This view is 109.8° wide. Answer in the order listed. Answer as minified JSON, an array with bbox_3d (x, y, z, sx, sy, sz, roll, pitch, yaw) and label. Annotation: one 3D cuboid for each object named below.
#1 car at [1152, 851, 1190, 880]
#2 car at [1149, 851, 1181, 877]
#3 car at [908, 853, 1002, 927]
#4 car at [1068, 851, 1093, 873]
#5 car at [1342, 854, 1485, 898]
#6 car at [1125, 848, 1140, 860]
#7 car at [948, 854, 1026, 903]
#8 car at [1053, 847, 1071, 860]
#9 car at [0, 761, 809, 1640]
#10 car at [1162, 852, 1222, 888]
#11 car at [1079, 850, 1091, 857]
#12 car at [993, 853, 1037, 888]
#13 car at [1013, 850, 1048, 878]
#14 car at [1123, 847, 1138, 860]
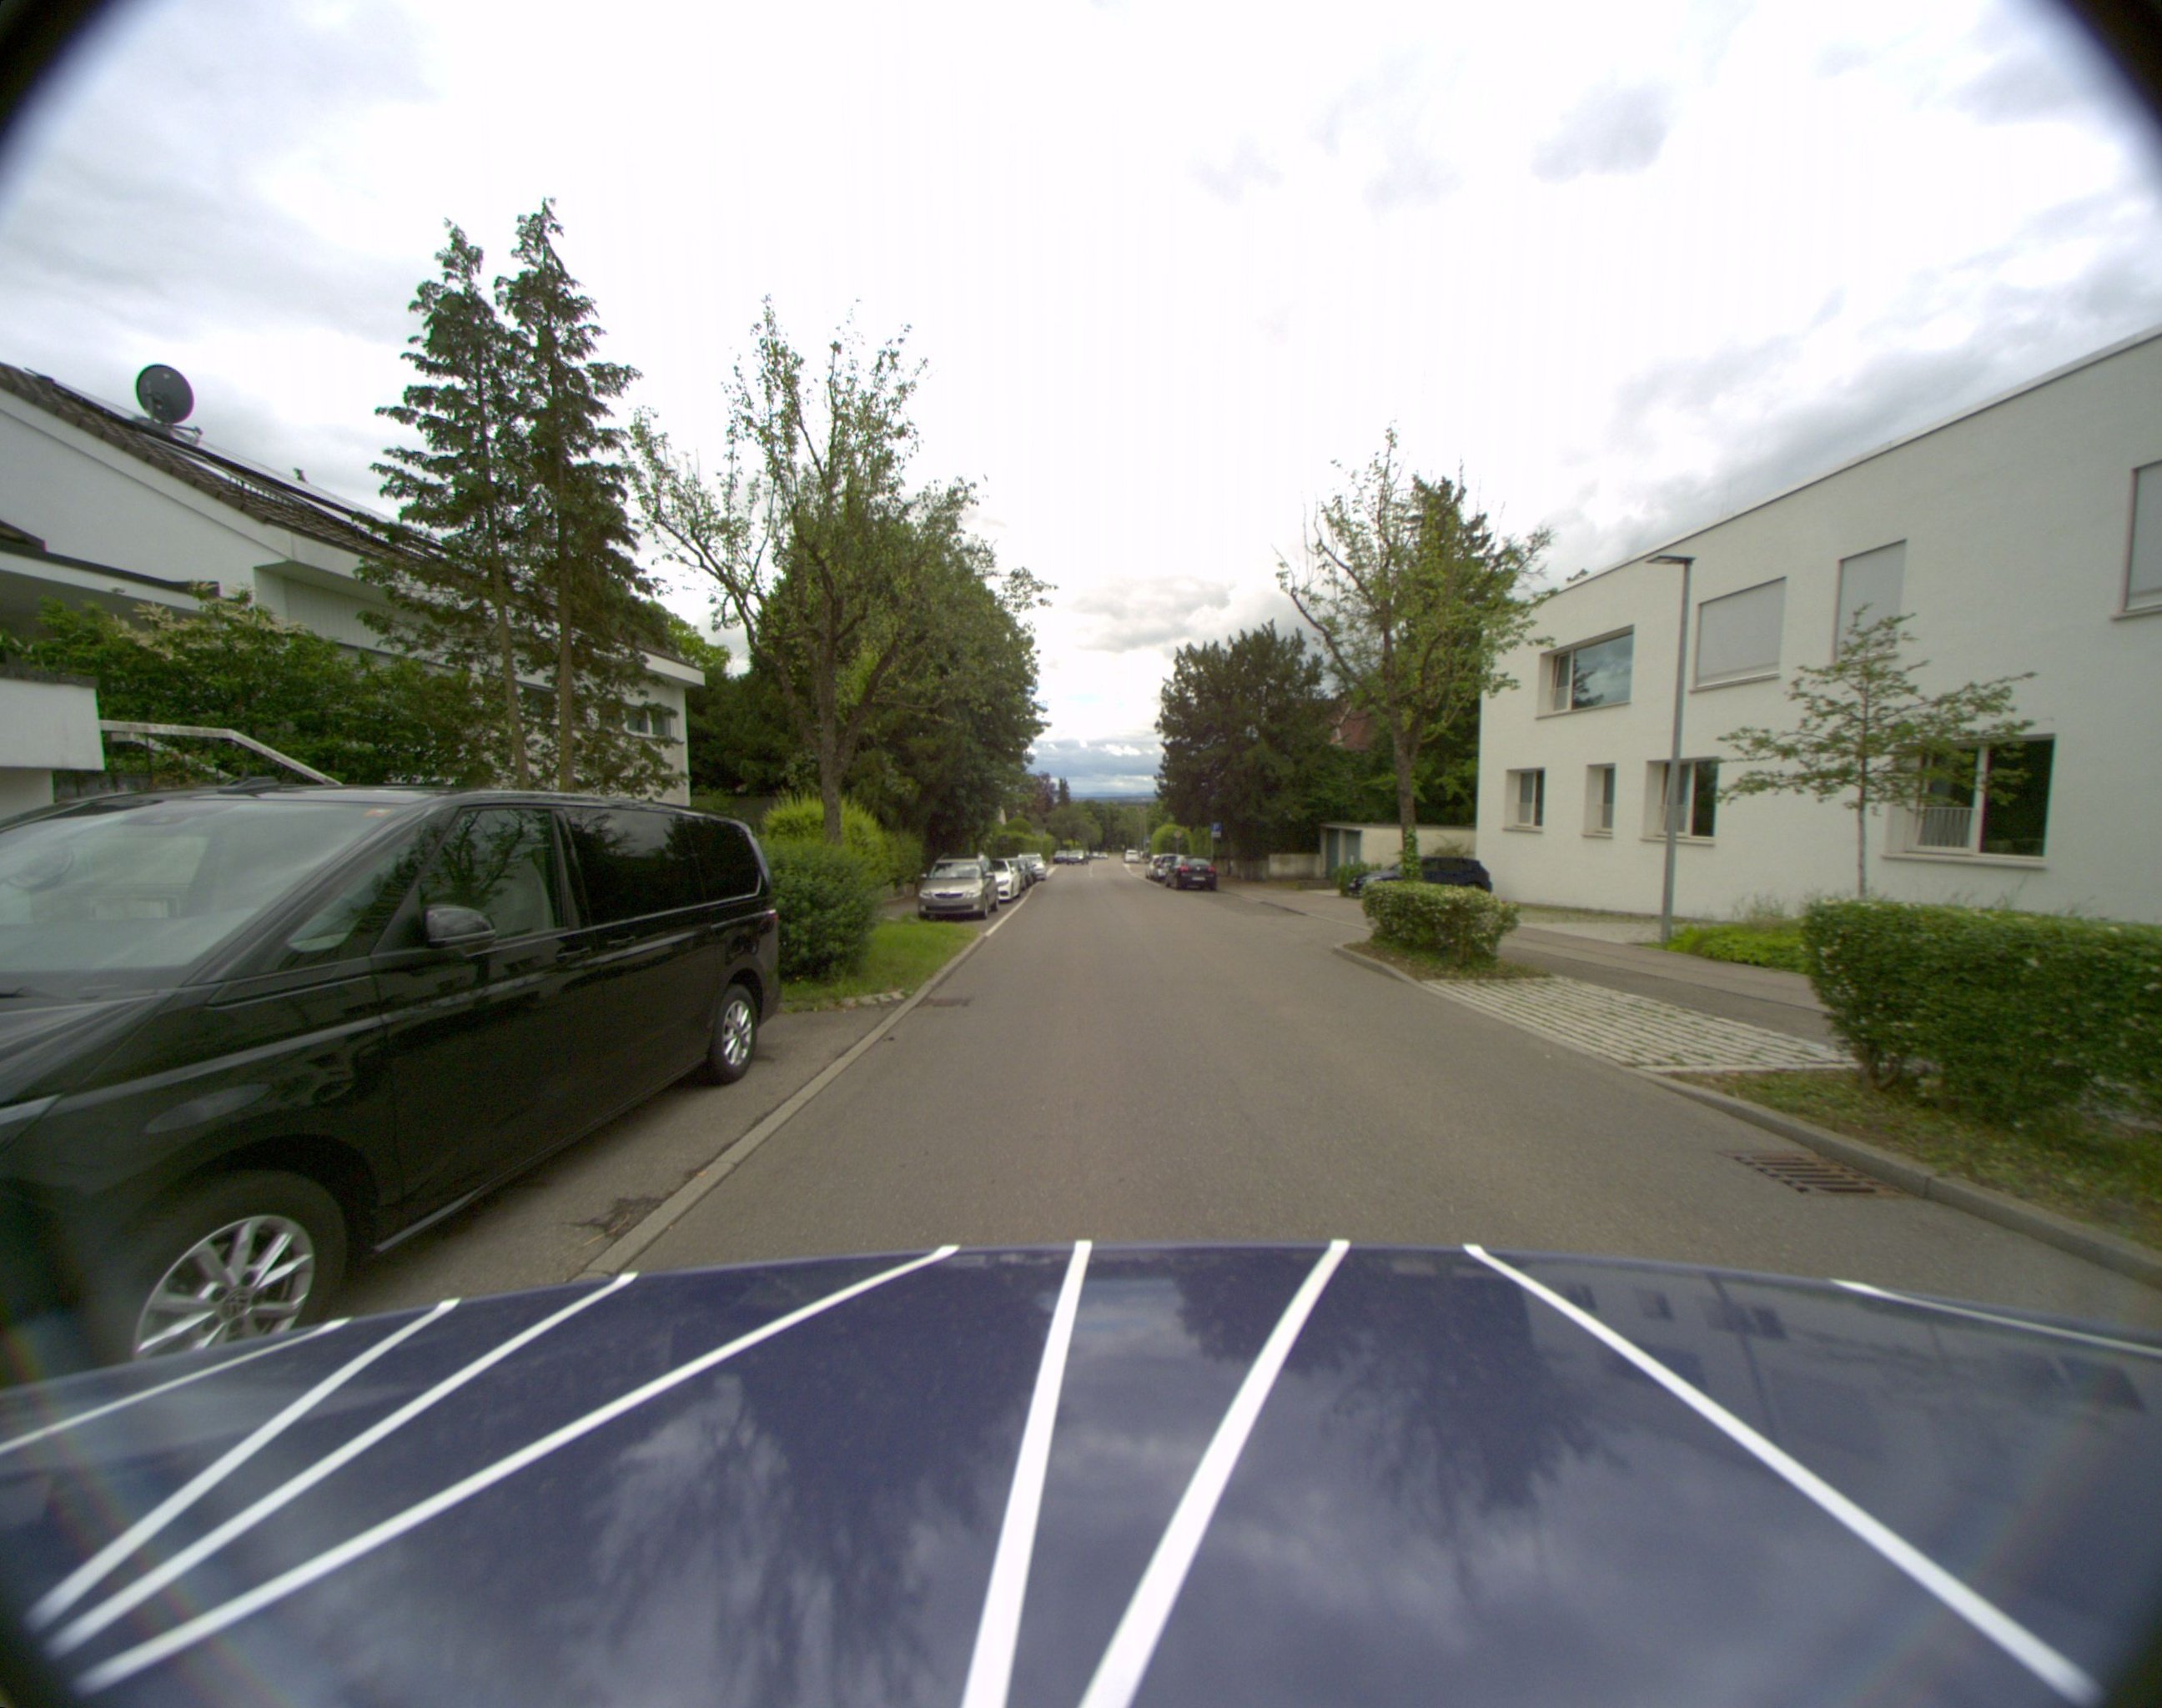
[{"bbox_3d":[4.898,0.586,41.643,1.628,1.510,2.974,0,1,-1],"label":"car"},{"bbox_3d":[5.018,0.584,45.636,1.748,1.439,3.515,2,0,6],"label":"car"},{"bbox_3d":[-3.126,0.822,19.581,1.721,1.623,3.928,-2,1,0],"label":"car"},{"bbox_3d":[-0.058,0.823,78.376,1.998,2.002,4.001,-7,0,5],"label":"car"},{"bbox_3d":[10.591,0.683,24.385,3.804,1.346,1.741,0,1,0],"label":"car"},{"bbox_3d":[6.159,-0.008,90.335,1.693,1.411,3.580,2,1,4],"label":"car"},{"bbox_3d":[-3.108,0.769,26.209,1.998,1.483,5.004,0,0,1],"label":"car"},{"bbox_3d":[-2.221,-0.024,89.307,1.794,1.480,4.379,0,0,3],"label":"car"},{"bbox_3d":[-3.214,0.706,3.596,1.941,1.827,5.218,0,1,0],"label":"car"},{"bbox_3d":[4.833,0.651,33.796,1.855,1.461,4.682,0,0,-1],"label":"car"},{"bbox_3d":[0.693,-0.049,136.878,1.998,1.221,4.000,0,1,3],"label":"car"},{"bbox_3d":[-3.159,0.761,36.989,1.702,1.499,4.159,-2,1,0],"label":"car"},{"bbox_3d":[-3.143,0.560,46.631,2.006,1.599,4.756,0,0,-5],"label":"car"},{"bbox_3d":[6.157,-0.071,95.431,1.786,1.481,4.739,3,1,3],"label":"car"}]
